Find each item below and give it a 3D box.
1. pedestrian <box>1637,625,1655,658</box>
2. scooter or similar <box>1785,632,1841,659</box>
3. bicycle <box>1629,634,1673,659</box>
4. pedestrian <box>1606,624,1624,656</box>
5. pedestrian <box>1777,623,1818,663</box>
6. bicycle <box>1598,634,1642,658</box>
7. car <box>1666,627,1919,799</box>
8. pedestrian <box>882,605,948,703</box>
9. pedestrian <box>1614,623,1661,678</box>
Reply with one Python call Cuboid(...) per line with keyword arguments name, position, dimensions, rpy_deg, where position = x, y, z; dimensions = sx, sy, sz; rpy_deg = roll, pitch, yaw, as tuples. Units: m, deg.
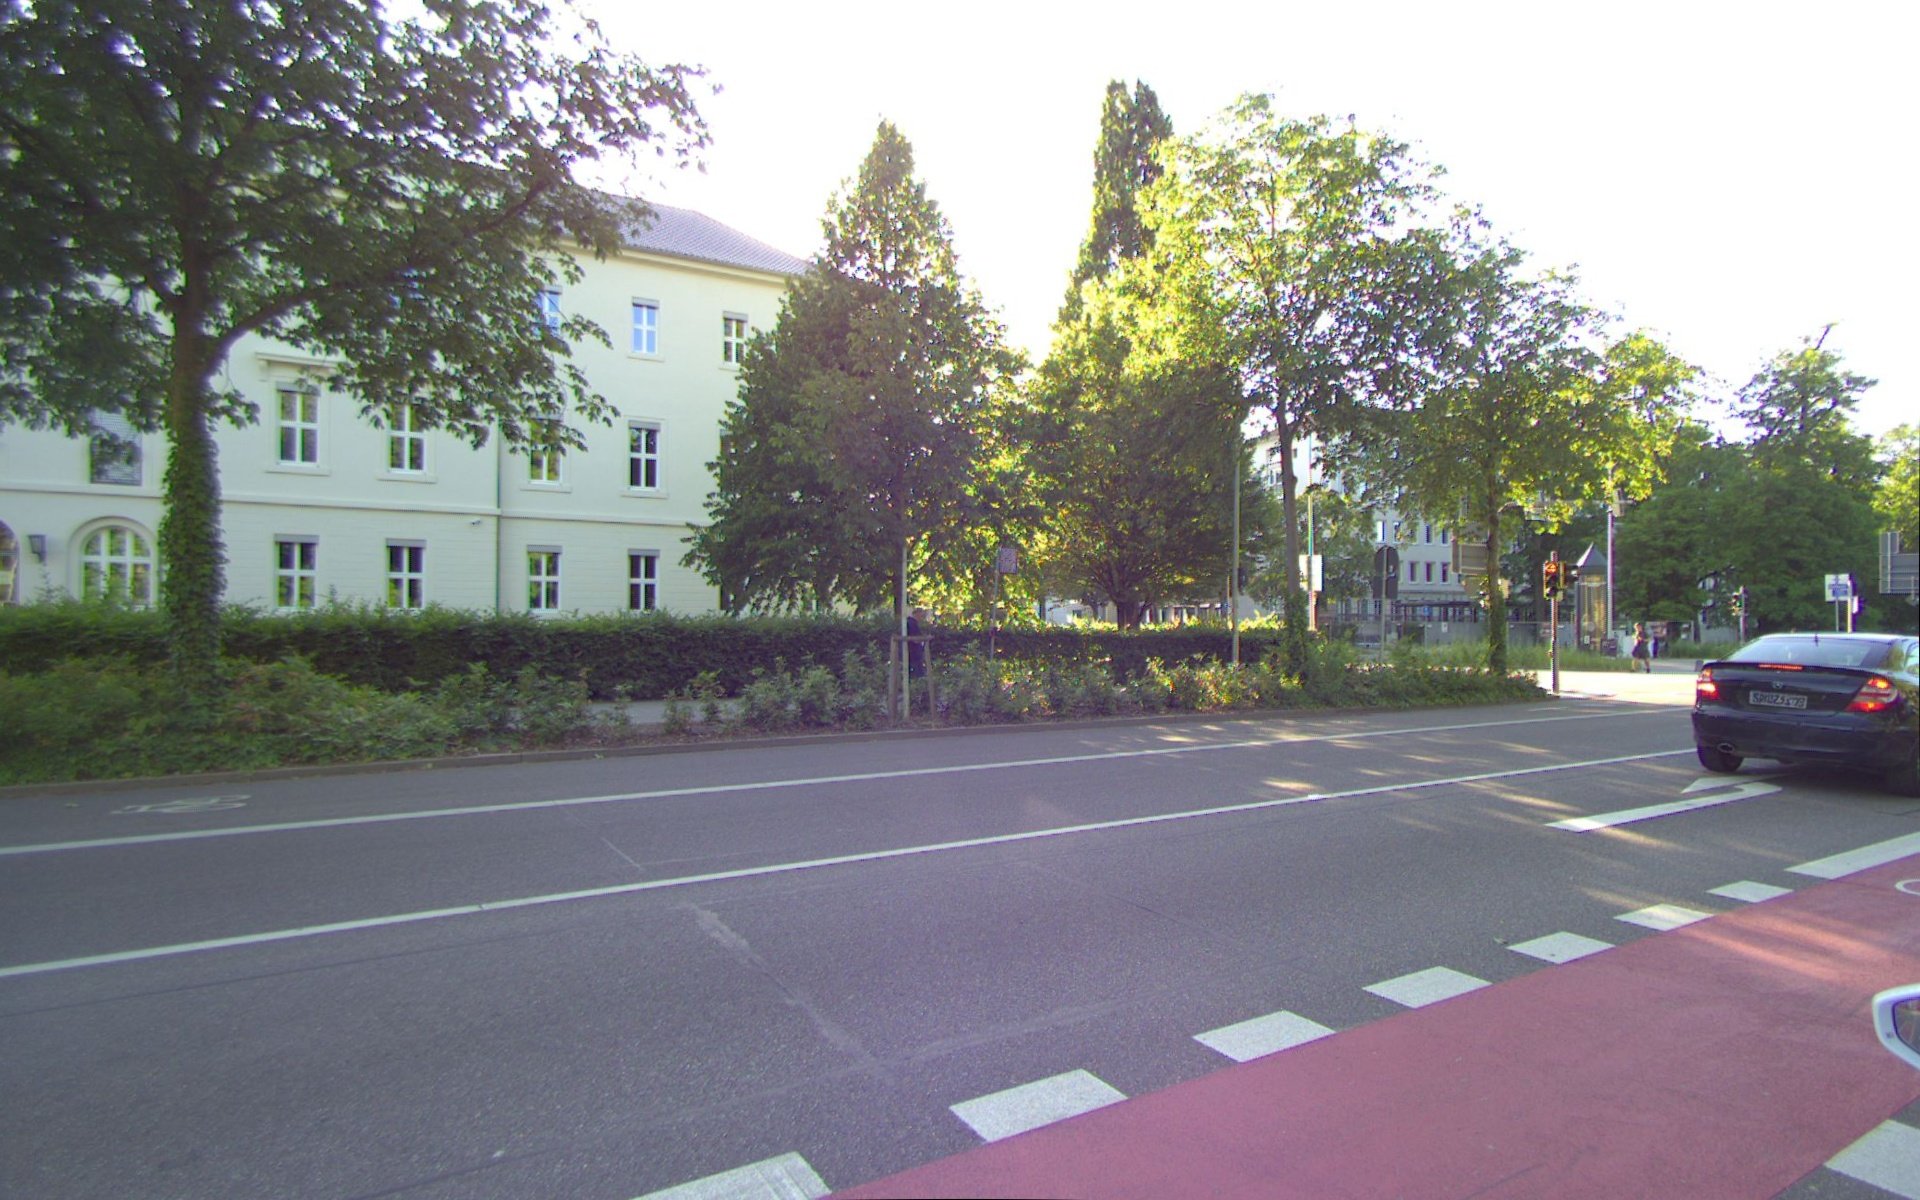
Cuboid(name="pedestrian", position=(34.451, 2.084, 50.463), dimensions=(0.442, 1.601, 0.624), rpy_deg=(1, 0, -39))
Cuboid(name="scooter or similar", position=(39.400, 2.097, 46.406), dimensions=(1.882, 1.139, 0.713), rpy_deg=(1, 0, 3))
Cuboid(name="bicycle", position=(34.622, 2.335, 50.358), dimensions=(0.288, 1.163, 1.849), rpy_deg=(1, -1, -36))
Cuboid(name="pedestrian", position=(33.834, 2.062, 51.880), dimensions=(0.442, 1.664, 0.624), rpy_deg=(1, 0, -39))
Cuboid(name="pedestrian", position=(34.736, 1.784, 41.664), dimensions=(0.992, 1.624, 1.080), rpy_deg=(1, -2, -36))
Cuboid(name="bicycle", position=(34.073, 2.353, 51.854), dimensions=(0.438, 1.163, 1.849), rpy_deg=(1, -1, -36))
Cuboid(name="car", position=(9.140, 0.996, 10.144), dimensions=(4.214, 1.423, 1.697), rpy_deg=(1, -2, -30))
Cuboid(name="pedestrian", position=(-0.835, 0.988, 18.532), dimensions=(0.956, 1.743, 0.831), rpy_deg=(1, -2, -29))
Cuboid(name="pedestrian", position=(25.657, 1.913, 38.035), dimensions=(1.175, 2.040, 0.992), rpy_deg=(1, 0, -25))
